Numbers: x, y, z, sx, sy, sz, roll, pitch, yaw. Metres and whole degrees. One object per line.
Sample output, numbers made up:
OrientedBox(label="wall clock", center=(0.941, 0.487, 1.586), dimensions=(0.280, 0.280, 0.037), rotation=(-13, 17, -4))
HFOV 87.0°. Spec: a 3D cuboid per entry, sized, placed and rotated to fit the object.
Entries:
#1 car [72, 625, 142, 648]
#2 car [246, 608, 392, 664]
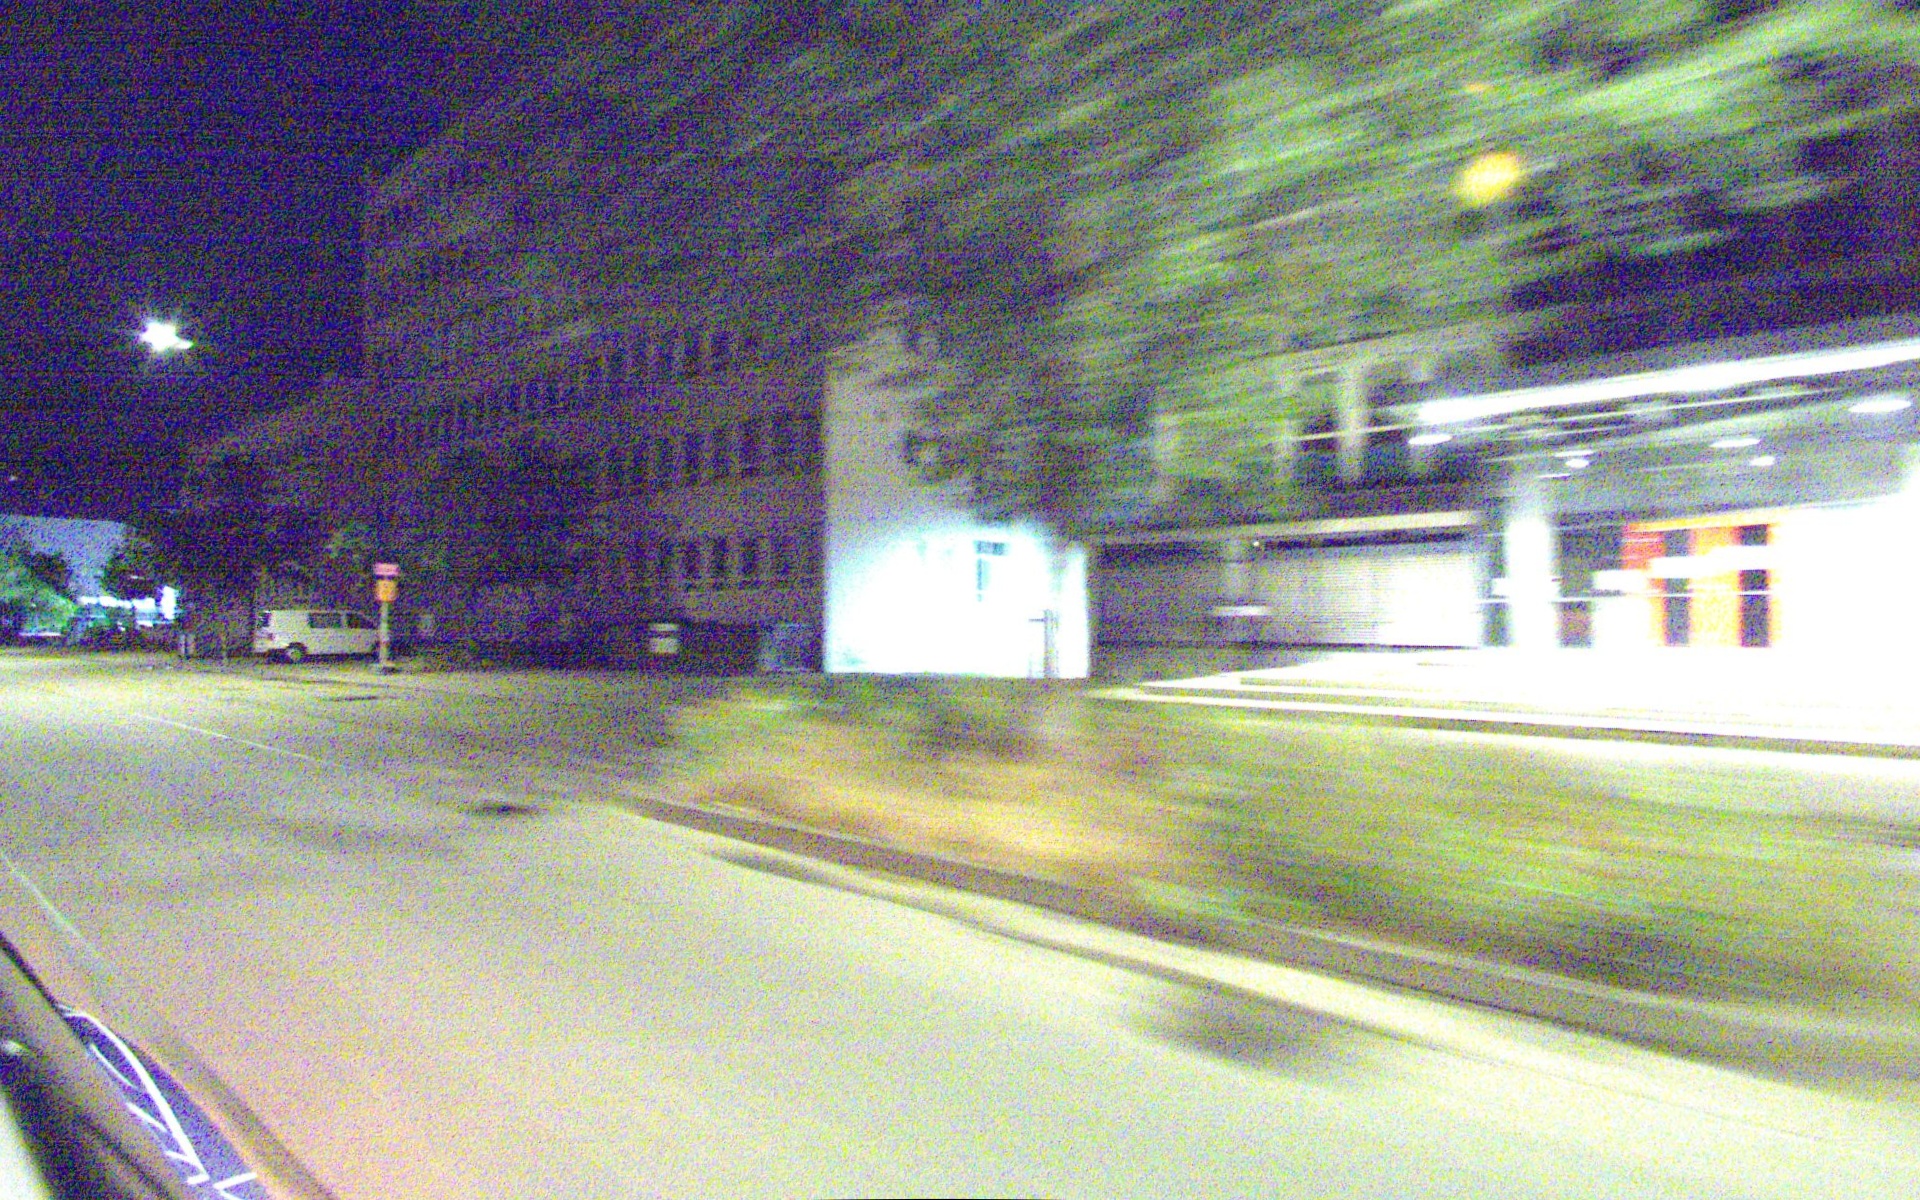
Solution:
OrientedBox(label="car", center=(-67.969, 2.882, 80.652), dimensions=(1.803, 1.474, 3.951), rotation=(-2, 2, 37))
OrientedBox(label="car", center=(-24.563, 1.336, 38.894), dimensions=(1.998, 1.987, 4.387), rotation=(-2, -1, 39))
